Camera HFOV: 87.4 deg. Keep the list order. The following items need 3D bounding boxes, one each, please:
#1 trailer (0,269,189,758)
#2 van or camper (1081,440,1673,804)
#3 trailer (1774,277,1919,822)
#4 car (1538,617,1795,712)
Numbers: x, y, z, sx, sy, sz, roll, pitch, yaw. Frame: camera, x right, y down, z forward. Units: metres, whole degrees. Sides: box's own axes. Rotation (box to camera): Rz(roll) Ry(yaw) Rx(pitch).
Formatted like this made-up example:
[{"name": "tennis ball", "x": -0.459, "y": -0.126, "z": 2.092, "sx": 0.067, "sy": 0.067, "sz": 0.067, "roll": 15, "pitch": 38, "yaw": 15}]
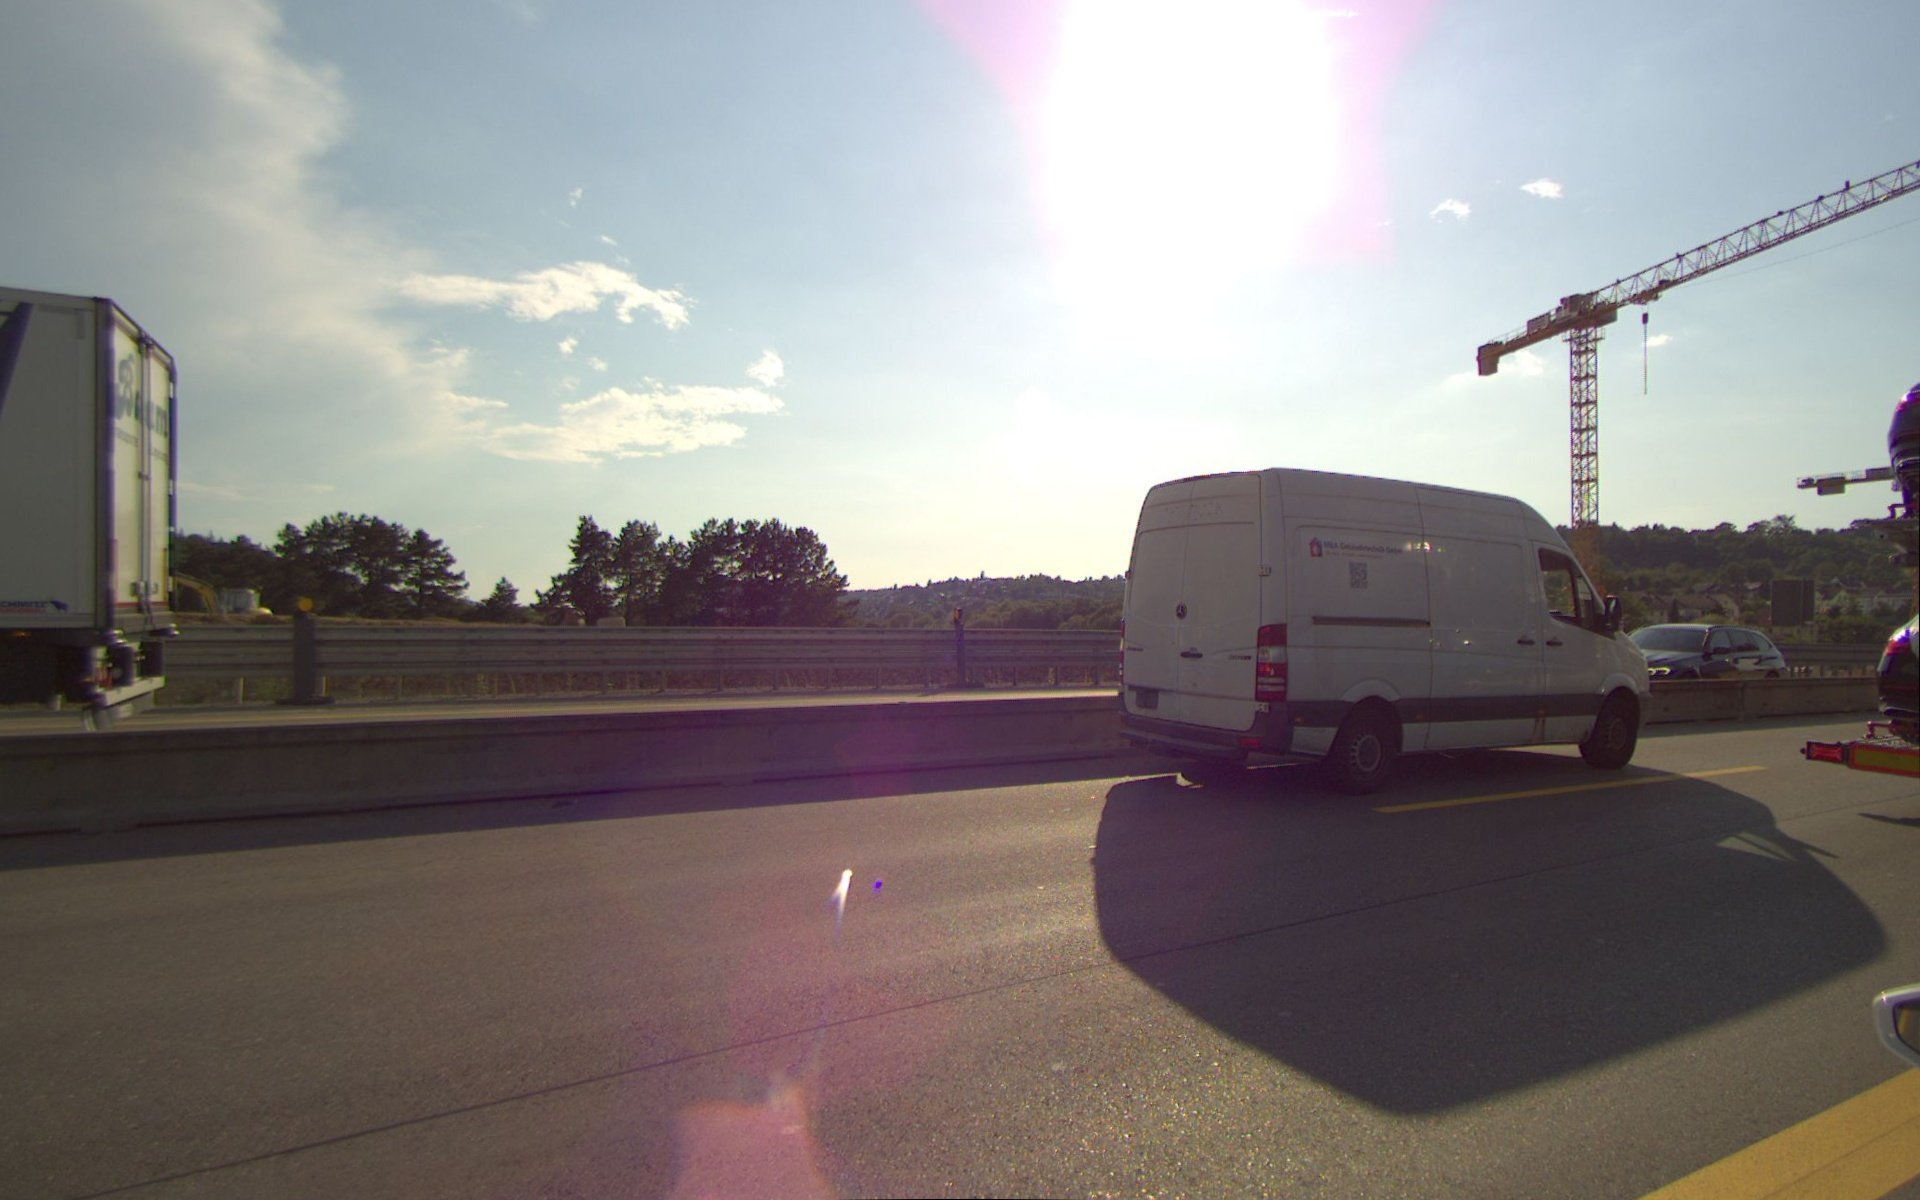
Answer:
[{"name": "trailer", "x": -14.106, "y": -0.851, "z": 6.634, "sx": 13.905, "sy": 4.119, "sz": 2.617, "roll": 2, "pitch": -3, "yaw": -28}, {"name": "van or camper", "x": 4.140, "y": 0.241, "z": 9.594, "sx": 5.830, "sy": 2.654, "sz": 1.985, "roll": 2, "pitch": -1, "yaw": -28}, {"name": "trailer", "x": 14.138, "y": -0.182, "z": 10.803, "sx": 15.555, "sy": 4.049, "sz": 2.845, "roll": 2, "pitch": -1, "yaw": -29}, {"name": "car", "x": 12.518, "y": 1.110, "z": 17.766, "sx": 4.481, "sy": 1.484, "sz": 1.985, "roll": 2, "pitch": -3, "yaw": -29}]
